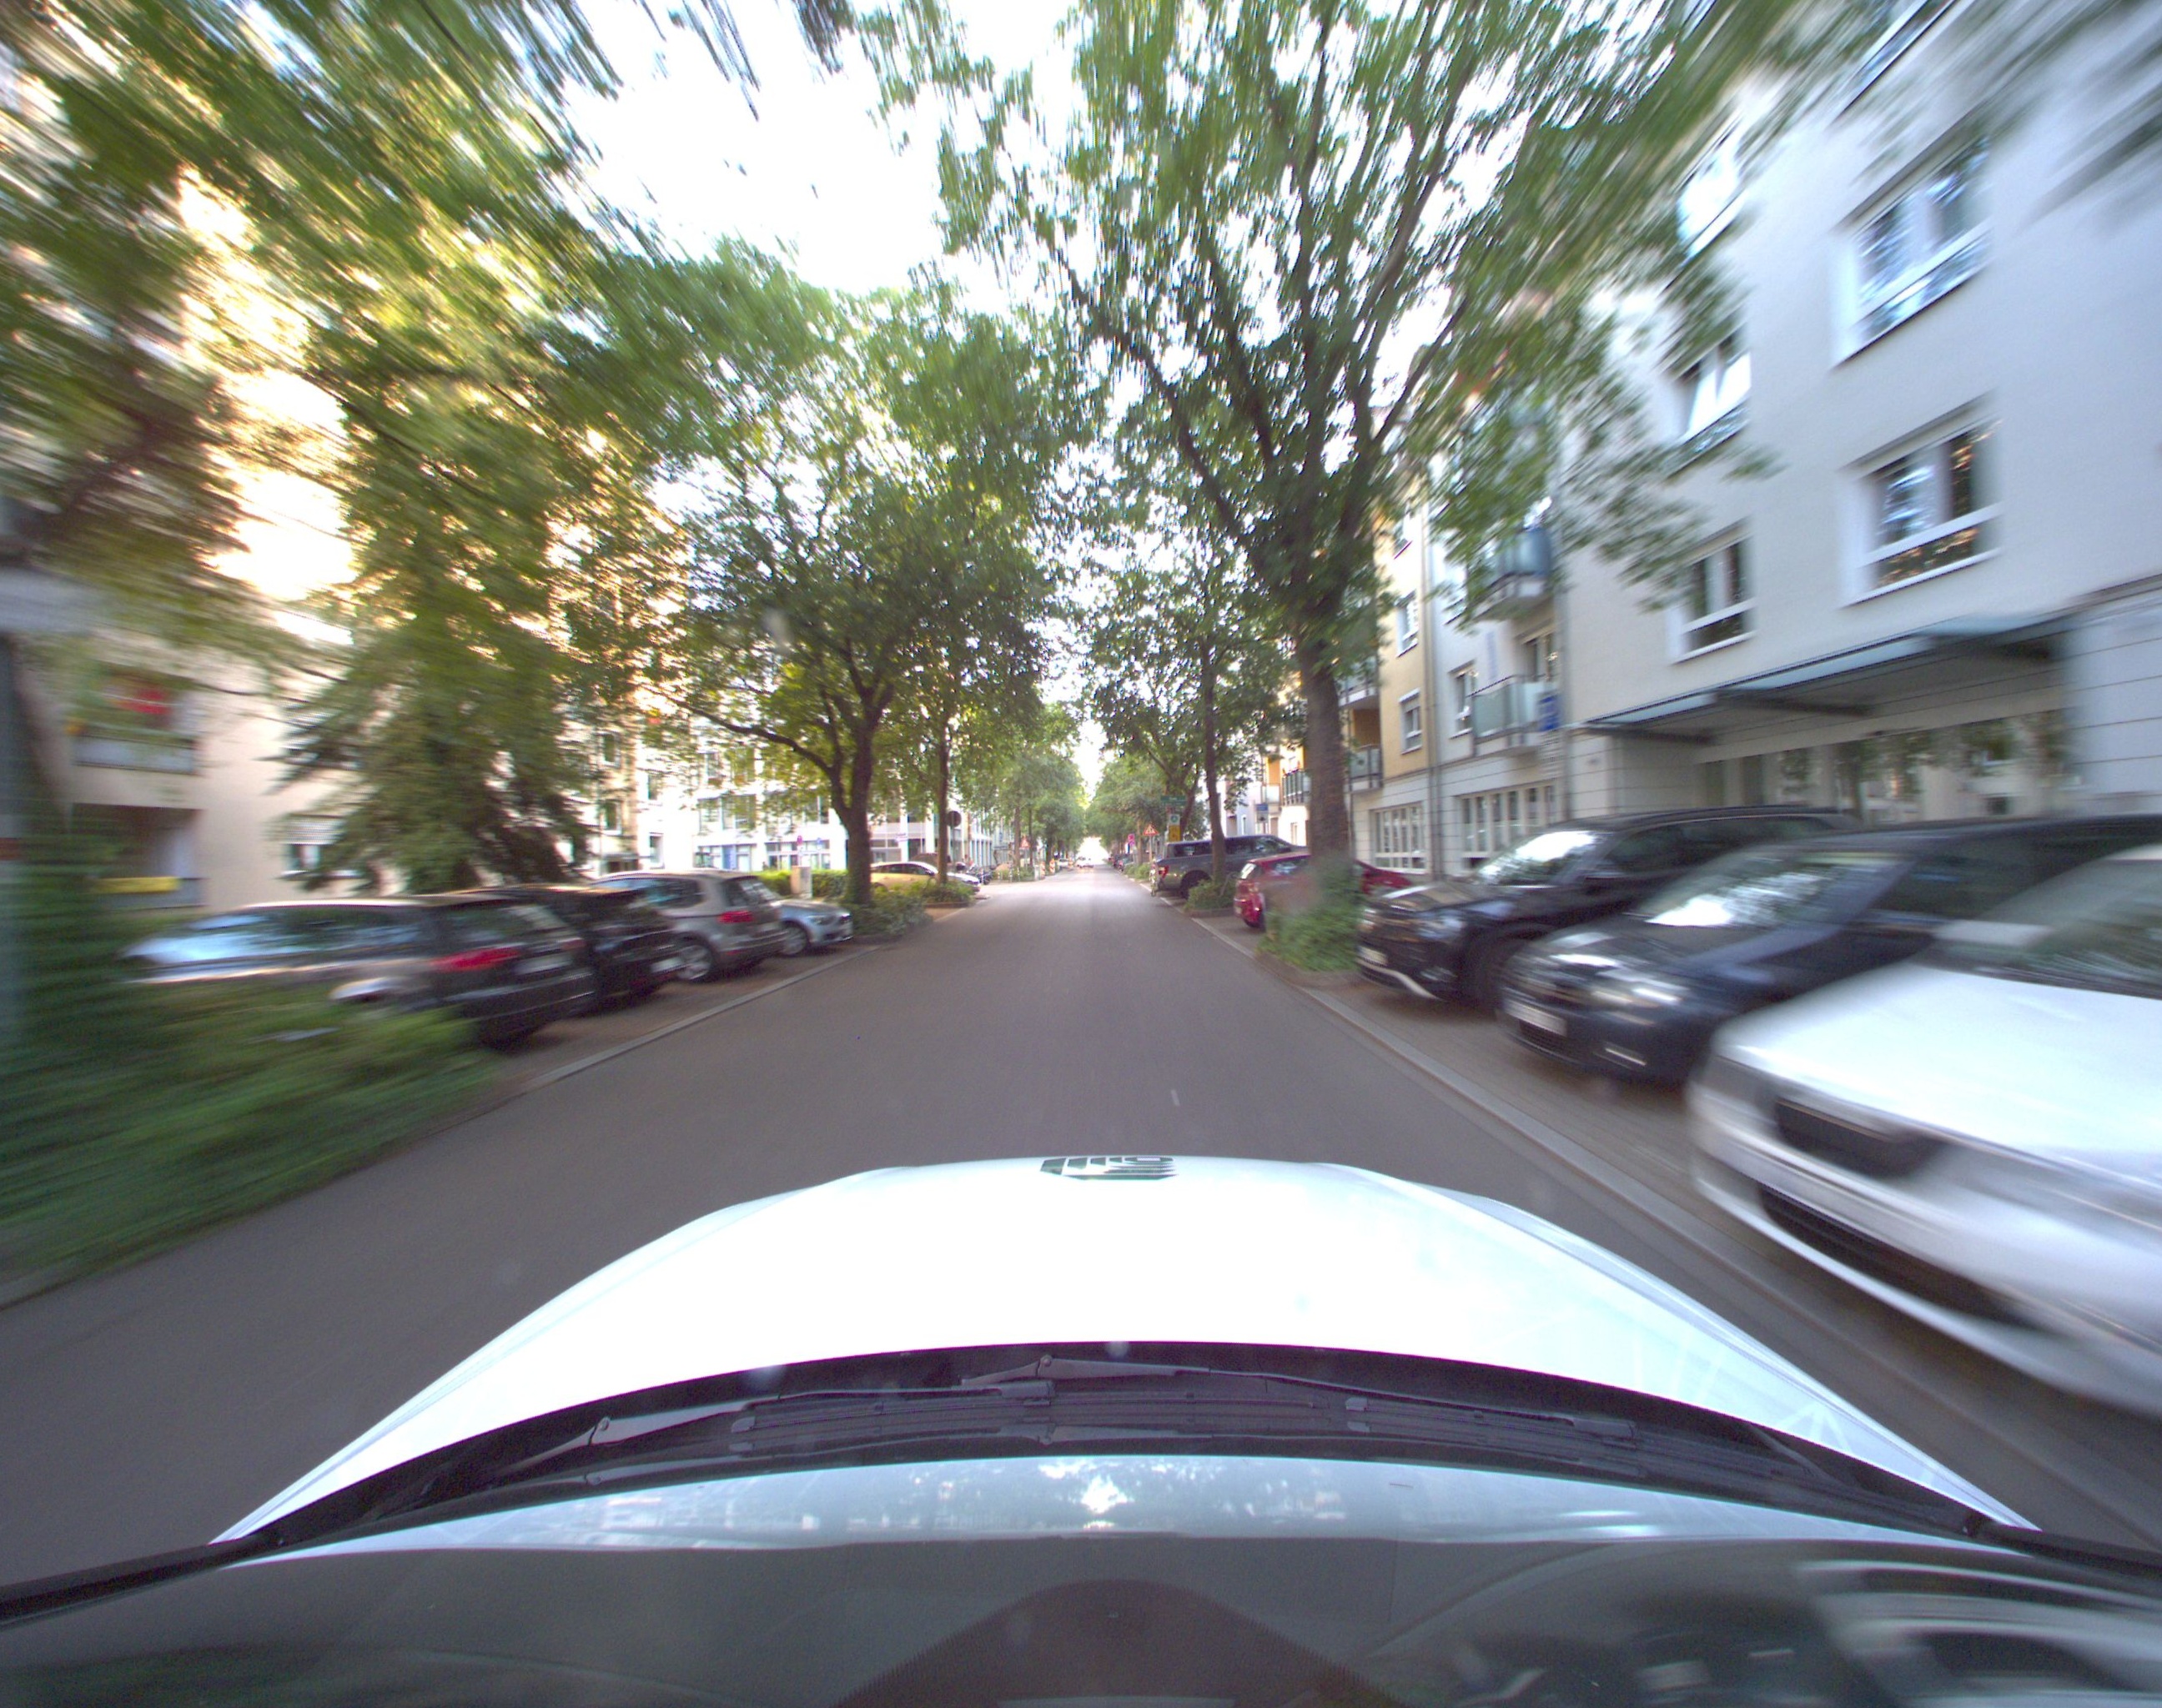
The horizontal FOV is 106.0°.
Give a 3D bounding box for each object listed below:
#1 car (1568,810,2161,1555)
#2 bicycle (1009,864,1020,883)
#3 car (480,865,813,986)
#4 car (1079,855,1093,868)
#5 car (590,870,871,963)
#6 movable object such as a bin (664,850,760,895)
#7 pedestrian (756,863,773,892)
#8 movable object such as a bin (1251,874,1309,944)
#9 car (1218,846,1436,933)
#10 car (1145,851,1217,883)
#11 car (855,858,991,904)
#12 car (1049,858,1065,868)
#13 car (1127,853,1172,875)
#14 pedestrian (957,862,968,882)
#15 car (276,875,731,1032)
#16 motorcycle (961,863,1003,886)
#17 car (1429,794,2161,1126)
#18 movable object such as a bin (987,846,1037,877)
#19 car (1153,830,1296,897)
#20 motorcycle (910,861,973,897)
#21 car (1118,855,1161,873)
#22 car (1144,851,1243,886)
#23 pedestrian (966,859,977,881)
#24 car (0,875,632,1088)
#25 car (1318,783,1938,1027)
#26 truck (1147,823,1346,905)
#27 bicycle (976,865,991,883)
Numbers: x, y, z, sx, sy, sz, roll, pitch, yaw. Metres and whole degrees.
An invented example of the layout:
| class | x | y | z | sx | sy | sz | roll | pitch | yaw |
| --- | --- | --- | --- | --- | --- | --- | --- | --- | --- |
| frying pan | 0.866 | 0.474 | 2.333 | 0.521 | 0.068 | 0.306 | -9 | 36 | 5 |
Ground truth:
| class | x | y | z | sx | sy | sz | roll | pitch | yaw |
| --- | --- | --- | --- | --- | --- | --- | --- | --- | --- |
| car | 4.451 | 0.565 | 2.654 | 4.585 | 1.468 | 1.796 | -5 | 0 | 0 |
| bicycle | -4.427 | 1.290 | 54.104 | 0.682 | 1.152 | 1.978 | -2 | 0 | -4 |
| car | -6.398 | 1.023 | 12.279 | 3.967 | 1.565 | 1.932 | -2 | 0 | 6 |
| car | 0.691 | 1.018 | 114.767 | 2.003 | 1.613 | 4.119 | -2 | 0 | 0 |
| car | -6.257 | 1.091 | 14.906 | 4.273 | 1.430 | 1.879 | -2 | 0 | 0 |
| movable object such as a bin | -23.692 | 1.208 | 52.272 | 5.581 | 2.692 | 2.296 | -2 | 0 | 21 |
| pedestrian | -20.664 | 1.553 | 53.173 | 0.893 | 1.851 | 0.867 | -2 | 0 | -31 |
| movable object such as a bin | 3.342 | 0.913 | 13.740 | 0.758 | 1.084 | 0.786 | -4 | 0 | 2 |
| car | 4.806 | 0.669 | 16.288 | 3.765 | 1.544 | 1.877 | -2 | 0 | -1 |
| car | 5.245 | 0.683 | 42.986 | 3.527 | 1.564 | 1.832 | -2 | -1 | 0 |
| car | -5.852 | 0.980 | 30.549 | 4.600 | 1.552 | 2.077 | -2 | 0 | 3 |
| car | -3.374 | 1.216 | 113.382 | 1.989 | 1.288 | 3.995 | -2 | 0 | -3 |
| car | 6.117 | 0.903 | 72.738 | 3.968 | 1.805 | 2.002 | -2 | 0 | 4 |
| pedestrian | -9.438 | 1.444 | 64.815 | 0.767 | 1.536 | 0.643 | -2 | -1 | 1 |
| car | -6.543 | 1.079 | 9.614 | 3.976 | 1.490 | 1.824 | -2 | 0 | -2 |
| motorcycle | -6.106 | 1.263 | 50.498 | 2.368 | 1.281 | 1.055 | -2 | 0 | -40 |
| car | 4.806 | 0.543 | 5.274 | 4.207 | 1.438 | 1.931 | -6 | 0 | 2 |
| movable object such as a bin | -5.755 | 0.622 | 68.513 | 4.039 | 2.383 | 2.780 | -2 | 0 | -5 |
| car | 4.966 | 0.316 | 28.654 | 4.586 | 2.066 | 2.197 | -2 | 0 | -1 |
| motorcycle | -5.873 | 1.042 | 34.378 | 2.443 | 1.420 | 0.911 | -2 | -1 | 2 |
| car | 5.520 | 0.936 | 77.320 | 3.971 | 1.585 | 2.001 | -2 | 0 | 2 |
| car | 5.506 | 0.694 | 40.324 | 4.606 | 1.571 | 2.011 | -1 | 0 | 0 |
| pedestrian | -8.680 | 1.291 | 64.635 | 0.736 | 1.690 | 0.607 | -2 | -1 | 2 |
| car | -6.543 | 1.003 | 7.233 | 3.975 | 1.464 | 1.921 | -2 | 0 | -1 |
| car | 4.958 | 0.413 | 7.867 | 4.632 | 1.617 | 2.008 | -5 | 0 | -4 |
| truck | 5.128 | 0.320 | 25.909 | 5.866 | 2.311 | 2.213 | -2 | 0 | 1 |
| bicycle | -6.455 | 1.326 | 54.095 | 0.680 | 1.152 | 1.982 | -2 | 0 | 2 |
